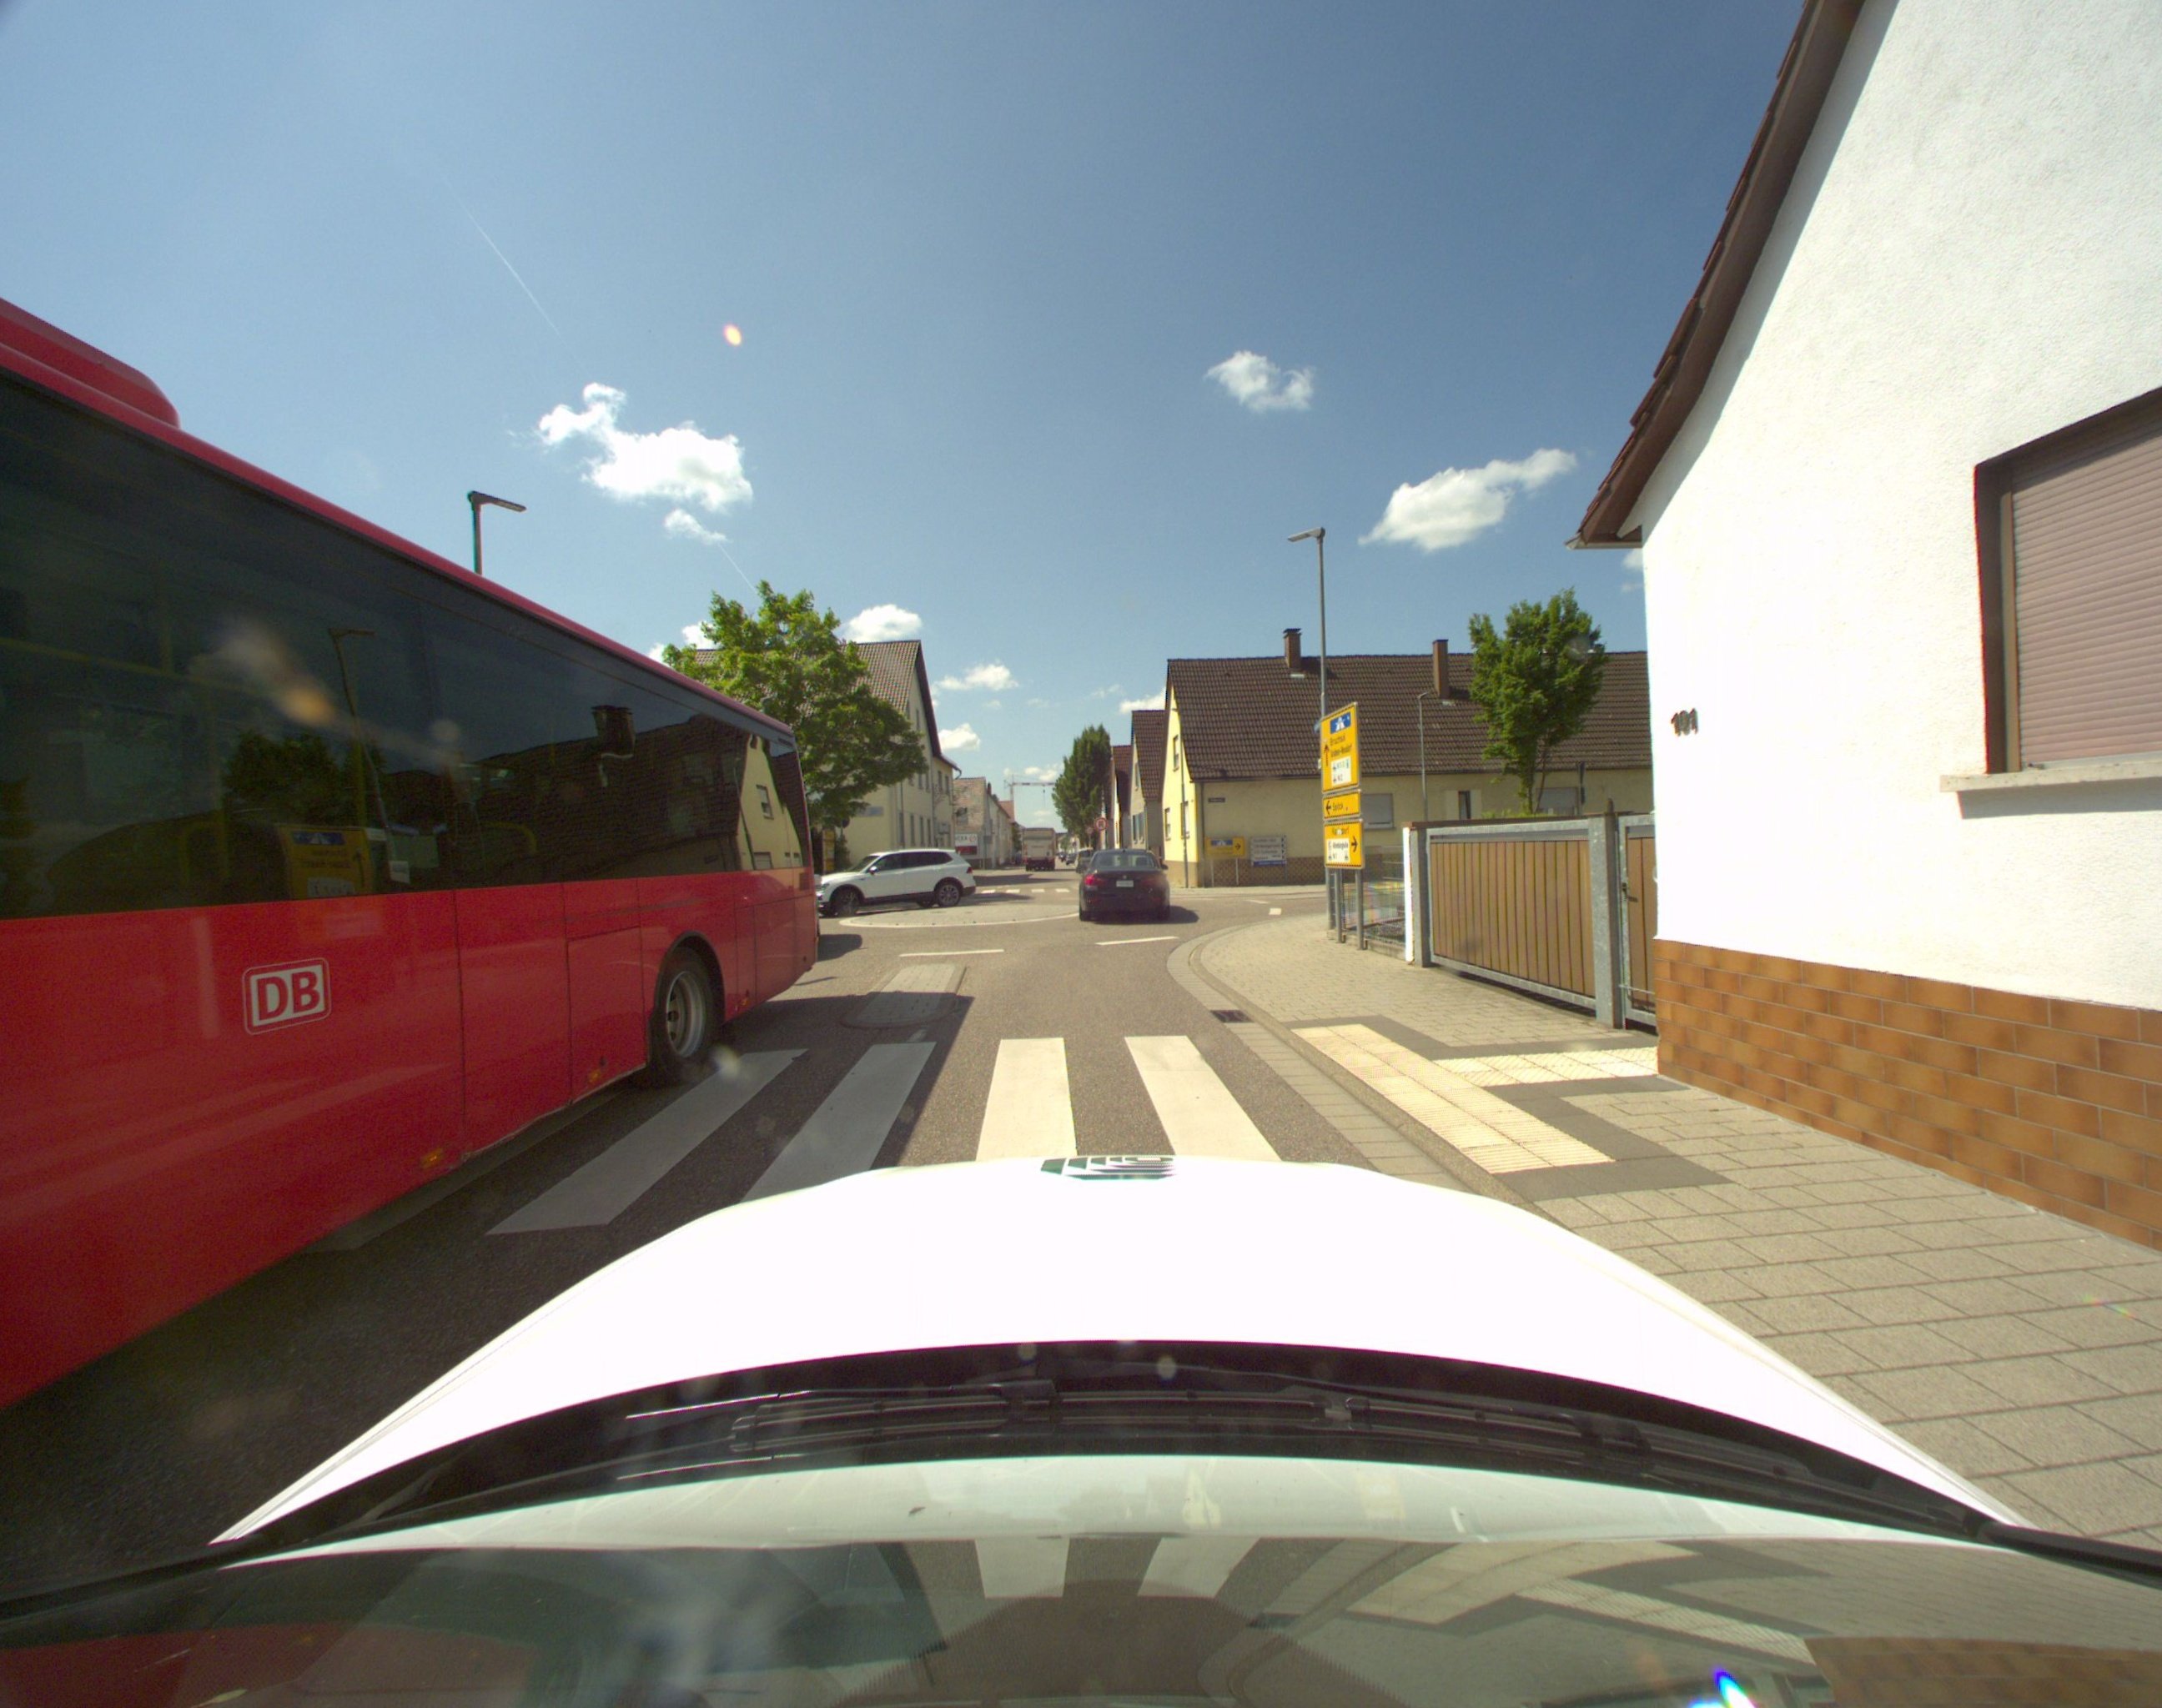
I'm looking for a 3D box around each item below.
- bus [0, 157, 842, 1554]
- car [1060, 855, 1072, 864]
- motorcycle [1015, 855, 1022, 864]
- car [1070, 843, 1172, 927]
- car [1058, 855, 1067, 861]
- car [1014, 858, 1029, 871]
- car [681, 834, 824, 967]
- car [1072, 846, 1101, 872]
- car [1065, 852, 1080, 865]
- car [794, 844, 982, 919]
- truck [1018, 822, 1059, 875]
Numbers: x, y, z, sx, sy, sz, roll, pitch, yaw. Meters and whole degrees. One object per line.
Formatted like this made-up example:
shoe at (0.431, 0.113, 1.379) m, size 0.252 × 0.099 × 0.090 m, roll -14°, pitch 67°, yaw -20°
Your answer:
bus at (-3.861, 0.017, 3.163) m, size 2.621 × 3.231 × 12.011 m, roll -4°, pitch 0°, yaw -3°
car at (-2.360, 0.830, 125.210) m, size 1.715 × 1.355 × 4.153 m, roll -2°, pitch 0°, yaw -2°
motorcycle at (-8.171, 0.727, 106.996) m, size 0.844 × 1.170 × 2.466 m, roll 0°, pitch 0°, yaw -3°
car at (1.013, 0.577, 17.923) m, size 1.892 × 1.563 × 4.485 m, roll -2°, pitch 0°, yaw 6°
car at (-3.930, 0.827, 174.062) m, size 1.715 × 1.268 × 4.153 m, roll -2°, pitch 0°, yaw -2°
car at (-8.085, 1.424, 111.066) m, size 1.805 × 1.589 × 3.996 m, roll -2°, pitch 0°, yaw -3°
car at (-5.467, 0.688, 14.080) m, size 1.776 × 1.821 × 4.416 m, roll -4°, pitch 0°, yaw -17°
car at (0.391, 0.339, 60.235) m, size 1.716 × 1.790 × 4.138 m, roll -4°, pitch 0°, yaw -4°
car at (-0.969, 0.554, 96.832) m, size 1.714 × 1.461 × 4.155 m, roll -2°, pitch 0°, yaw -1°
car at (-5.199, 0.672, 22.154) m, size 4.560 × 1.710 × 1.852 m, roll -3°, pitch 0°, yaw -33°
truck at (-3.551, -0.434, 70.363) m, size 3.136 × 4.250 × 9.297 m, roll 0°, pitch 0°, yaw -1°
